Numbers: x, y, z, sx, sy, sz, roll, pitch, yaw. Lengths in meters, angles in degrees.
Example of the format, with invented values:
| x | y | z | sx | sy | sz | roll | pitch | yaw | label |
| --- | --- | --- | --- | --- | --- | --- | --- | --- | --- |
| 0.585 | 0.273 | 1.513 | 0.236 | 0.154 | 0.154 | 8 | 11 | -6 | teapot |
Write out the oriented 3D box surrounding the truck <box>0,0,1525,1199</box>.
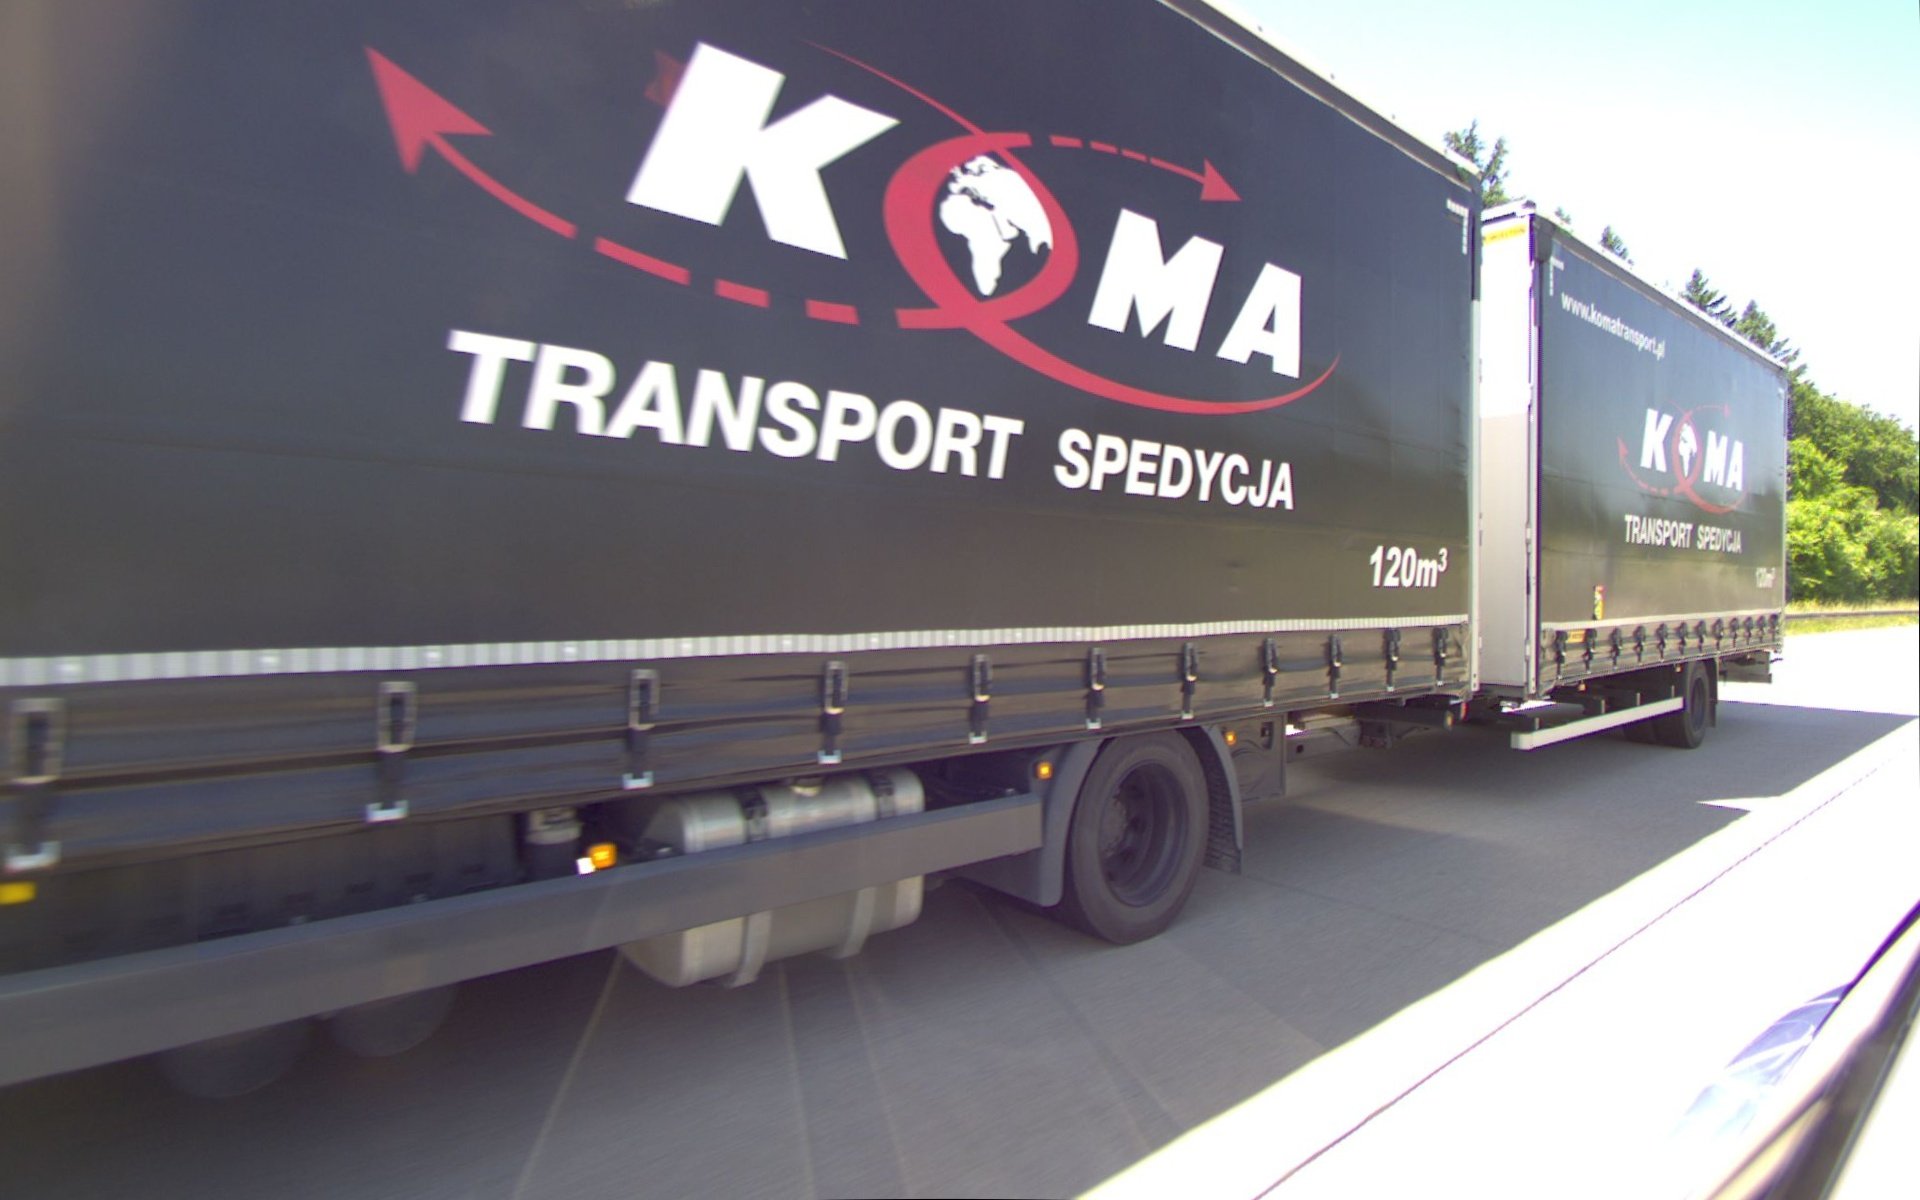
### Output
| x | y | z | sx | sy | sz | roll | pitch | yaw | label |
| --- | --- | --- | --- | --- | --- | --- | --- | --- | --- |
| -1.702 | -0.703 | 3.636 | 10.422 | 4.067 | 3.165 | -1 | 0 | -41 | truck |

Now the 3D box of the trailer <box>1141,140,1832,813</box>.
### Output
| x | y | z | sx | sy | sz | roll | pitch | yaw | label |
| --- | --- | --- | --- | --- | --- | --- | --- | --- | --- |
| 5.914 | -0.796 | 10.241 | 8.929 | 4.067 | 3.140 | -1 | 0 | -41 | trailer |
